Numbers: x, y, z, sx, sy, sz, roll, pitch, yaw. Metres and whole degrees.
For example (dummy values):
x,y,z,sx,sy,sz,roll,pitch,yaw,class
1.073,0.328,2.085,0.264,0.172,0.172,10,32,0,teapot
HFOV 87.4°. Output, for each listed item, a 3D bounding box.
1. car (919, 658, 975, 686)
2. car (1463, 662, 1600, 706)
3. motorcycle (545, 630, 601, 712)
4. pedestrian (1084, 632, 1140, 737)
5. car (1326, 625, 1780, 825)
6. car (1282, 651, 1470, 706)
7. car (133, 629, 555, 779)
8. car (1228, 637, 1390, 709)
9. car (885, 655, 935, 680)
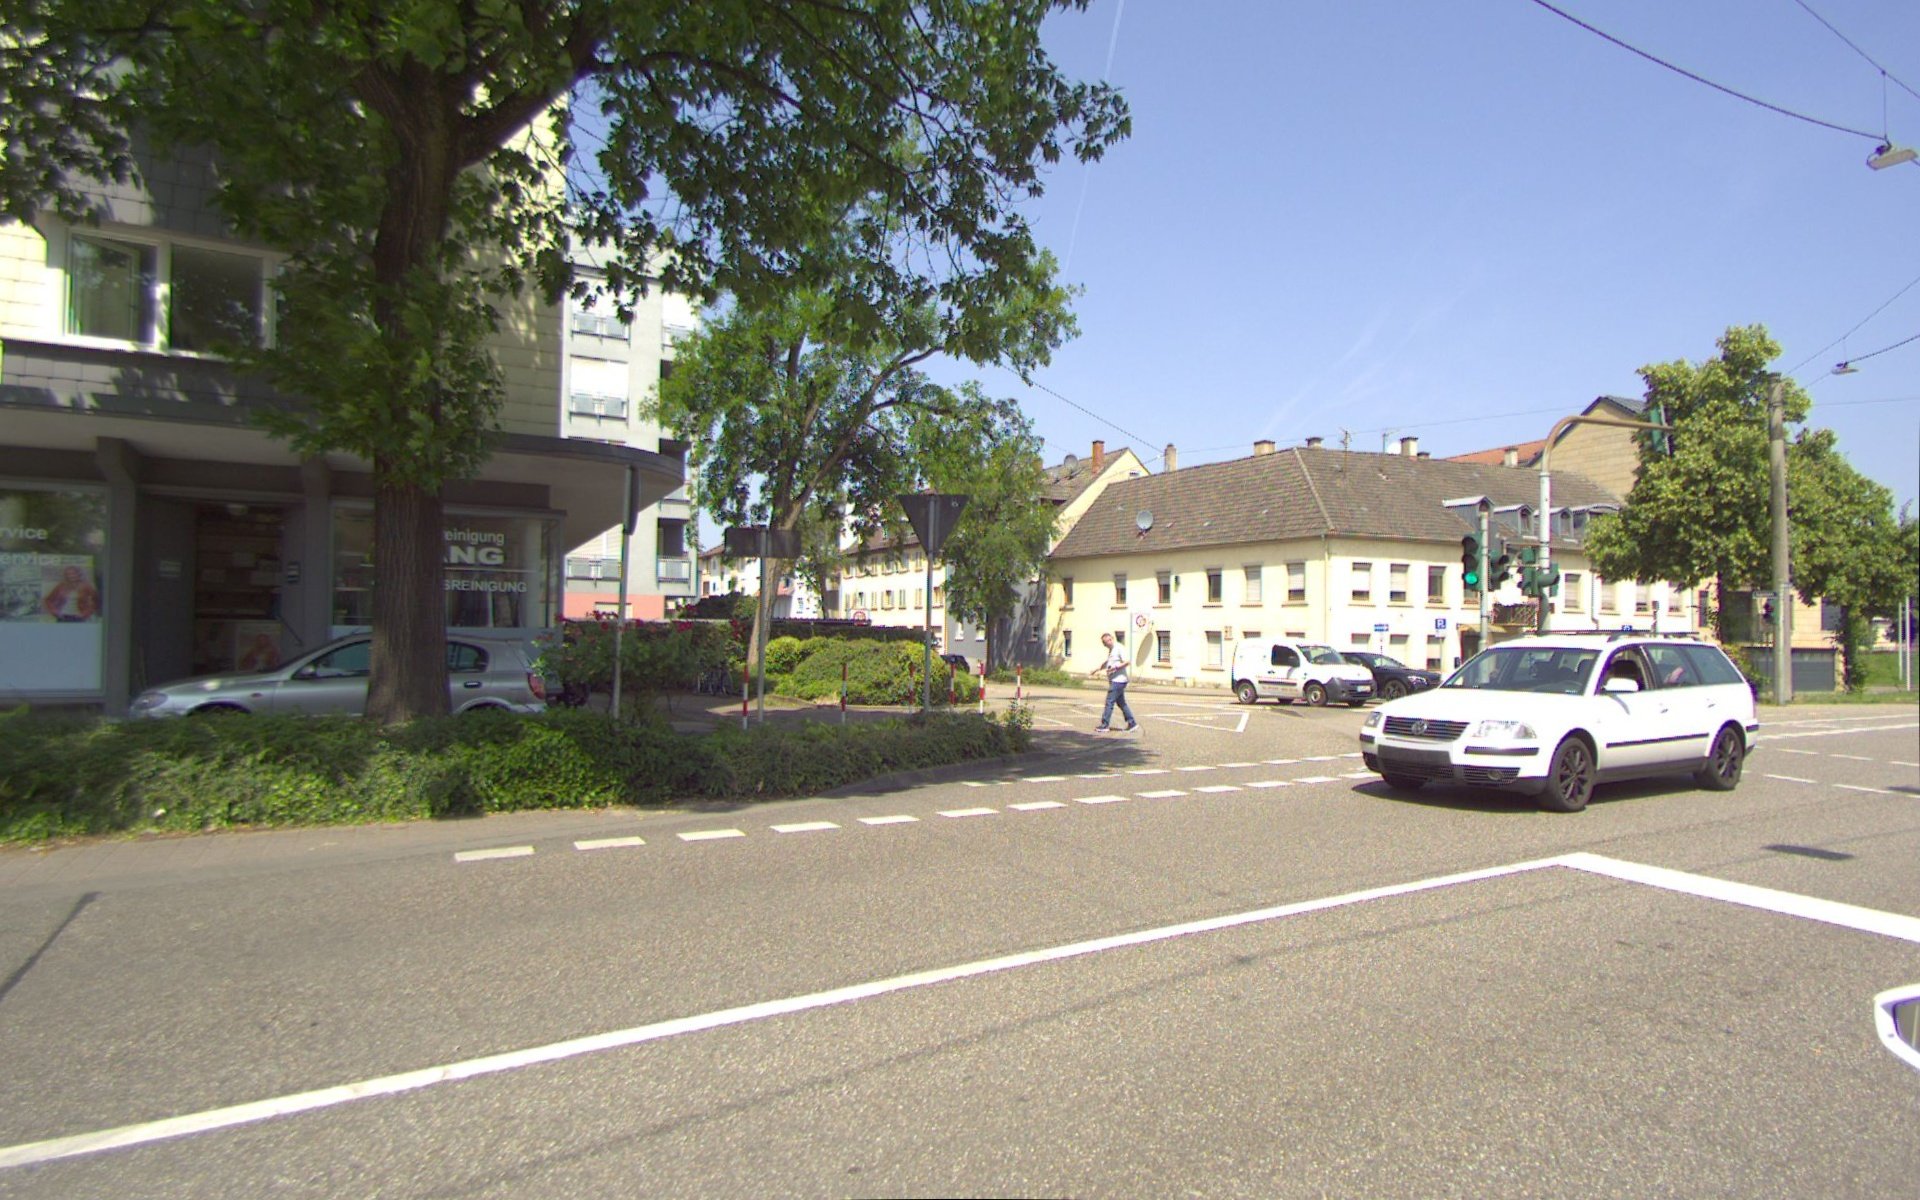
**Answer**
x,y,z,sx,sy,sz,roll,pitch,yaw,class
-0.849,4.349,61.358,1.787,1.425,3.970,2,-1,-28,car
22.275,3.256,39.118,5.210,1.649,1.812,2,-4,-22,car
-7.452,1.334,19.298,0.706,1.439,1.906,3,-2,-28,motorcycle
2.647,1.453,17.537,0.734,1.783,0.624,2,-2,-30,pedestrian
5.813,1.043,9.699,4.577,1.538,1.807,2,-2,-31,car
11.722,2.213,28.621,2.094,1.419,4.580,2,-5,-33,car
-6.899,1.115,11.653,3.893,1.478,1.575,2,-2,-30,car
9.071,1.903,26.389,1.872,1.757,3.668,2,-4,-31,car
-3.333,4.420,66.185,1.787,1.425,3.970,2,-1,-28,car
